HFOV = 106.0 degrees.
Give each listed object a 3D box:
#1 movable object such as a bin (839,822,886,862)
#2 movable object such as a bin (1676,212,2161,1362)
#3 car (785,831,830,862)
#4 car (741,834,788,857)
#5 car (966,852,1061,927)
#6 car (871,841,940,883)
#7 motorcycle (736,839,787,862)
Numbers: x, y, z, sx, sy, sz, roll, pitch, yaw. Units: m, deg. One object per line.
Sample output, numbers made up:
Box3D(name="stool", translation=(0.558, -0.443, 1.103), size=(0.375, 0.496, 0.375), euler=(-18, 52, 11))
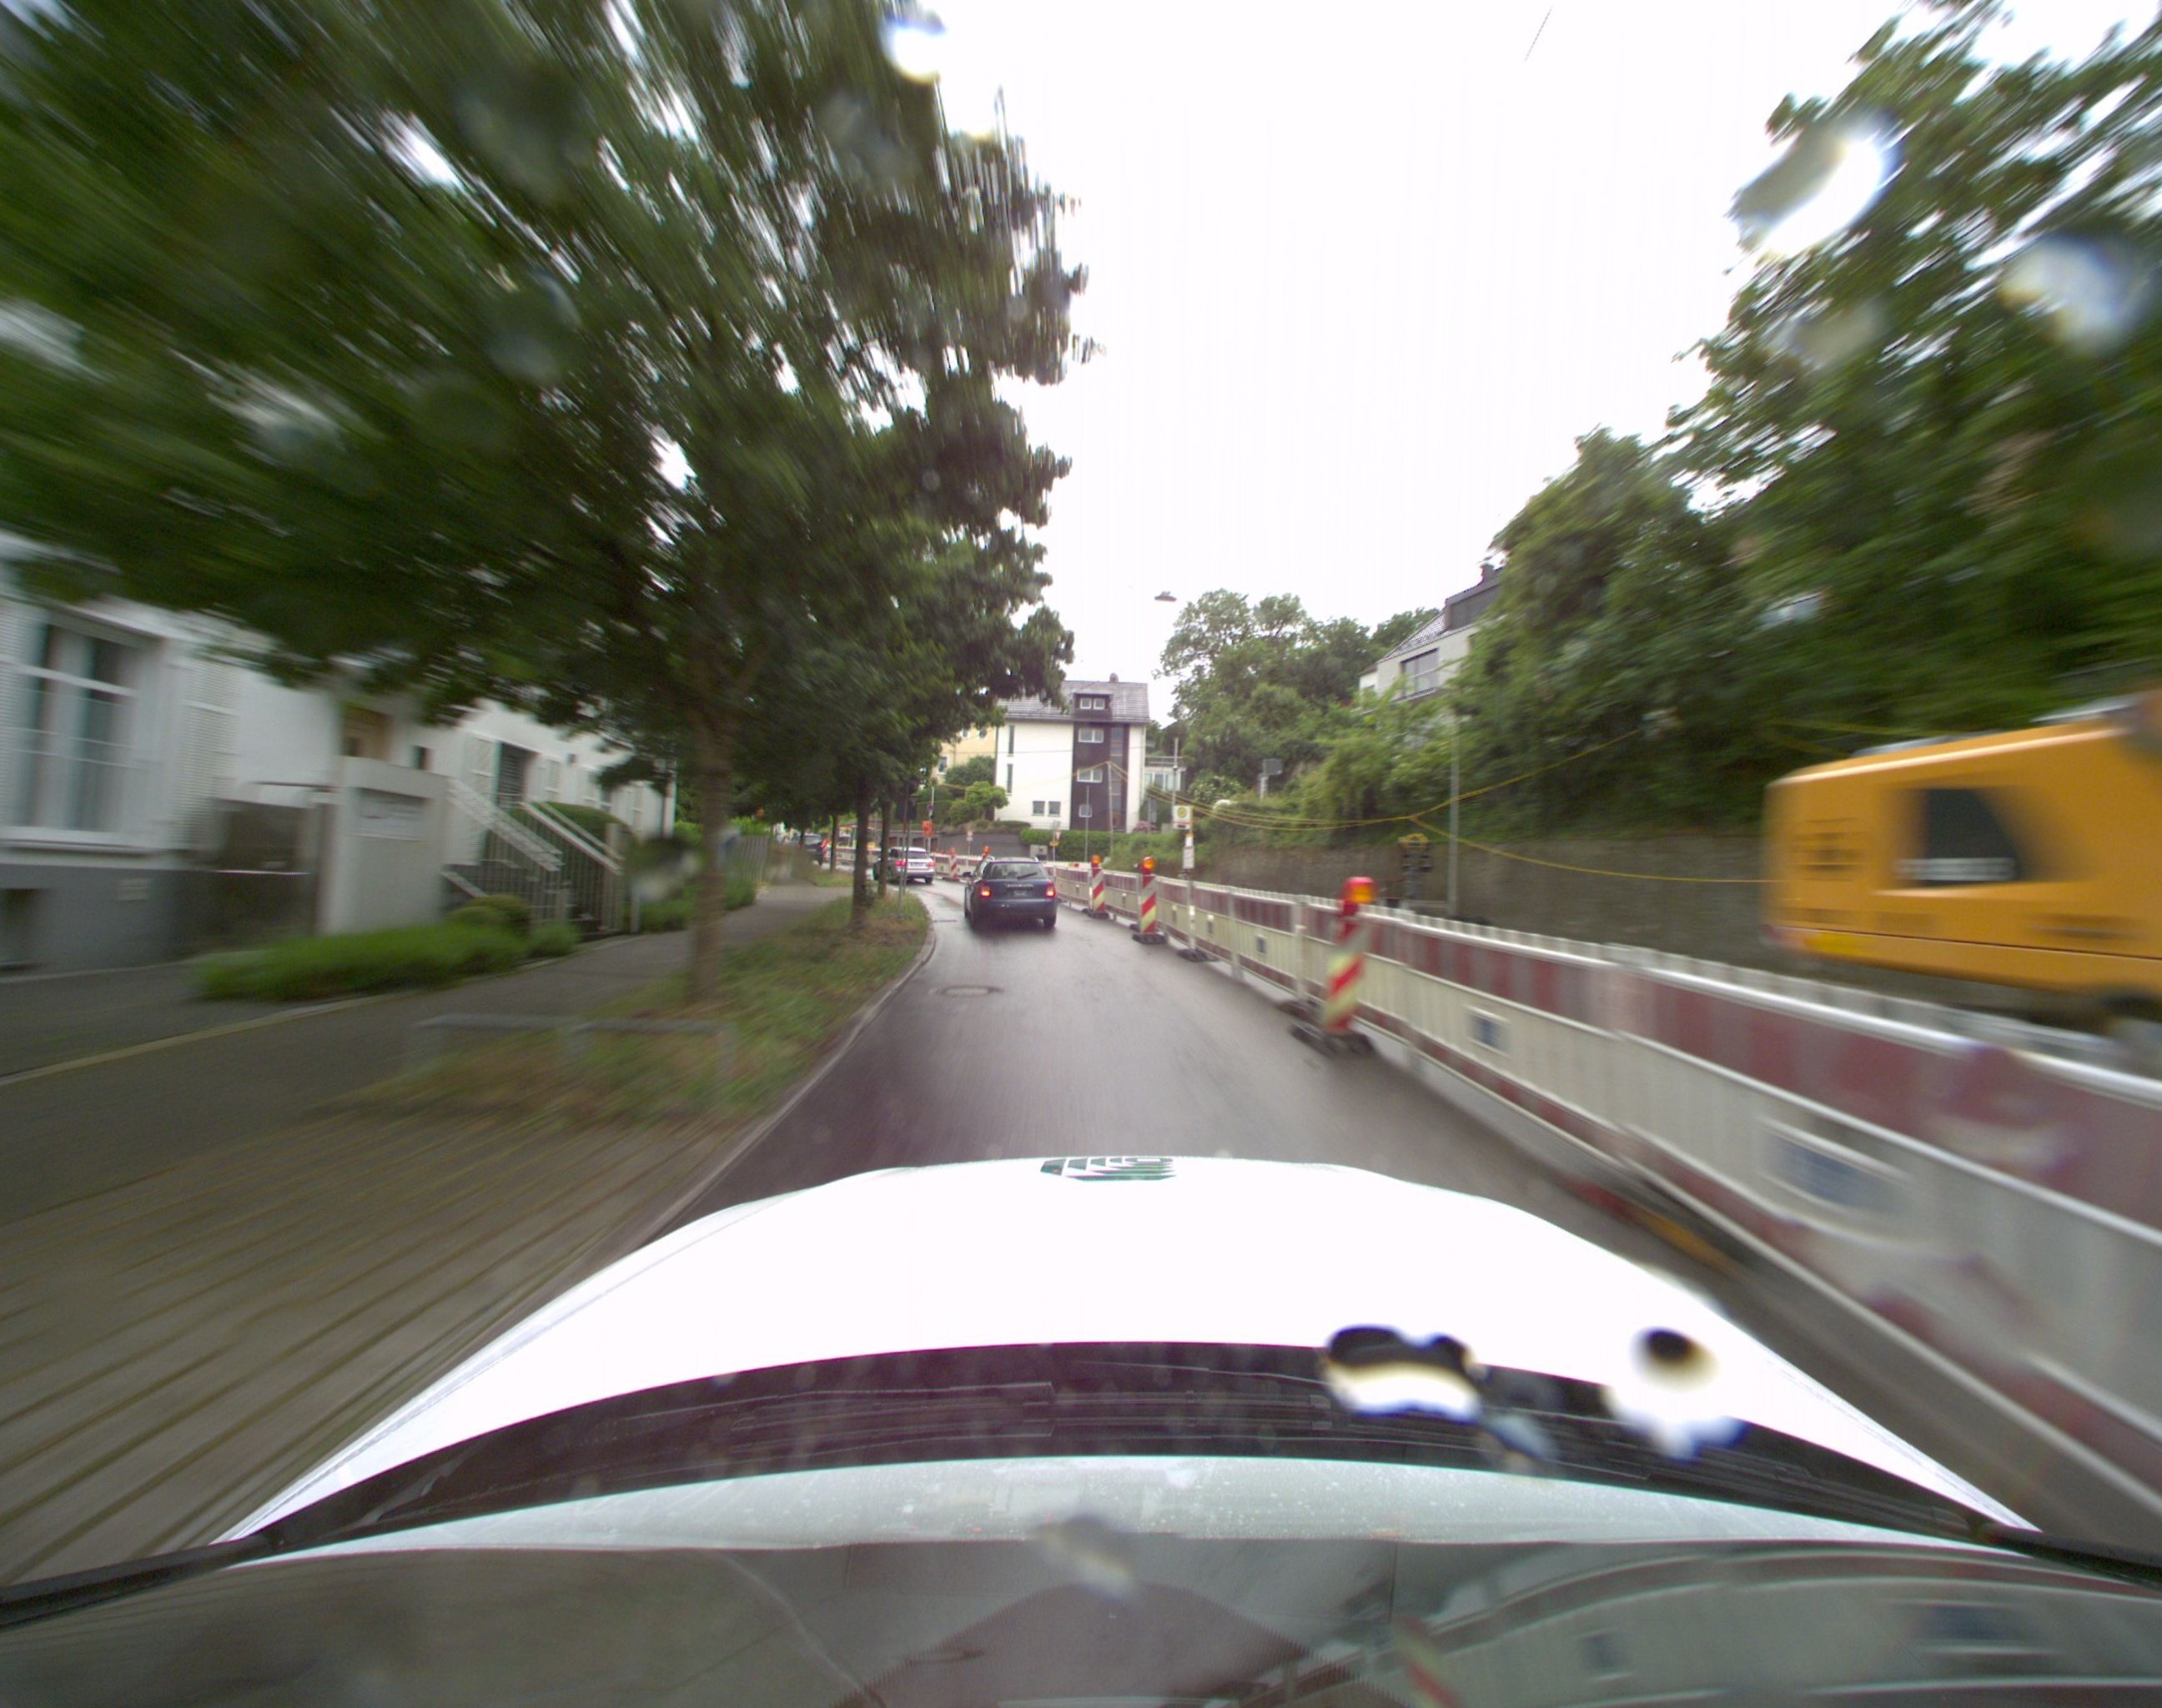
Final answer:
Box3D(name="movable object such as a bin", translation=(-14.968, -0.847, 55.618), size=(2.007, 2.613, 3.962), euler=(1, 2, -31))
Box3D(name="movable object such as a bin", translation=(5.071, -0.233, 1.763), size=(2.805, 4.014, 7.338), euler=(0, 0, 6))
Box3D(name="car", translation=(-16.824, -0.429, 50.003), size=(2.005, 1.794, 3.963), euler=(0, -2, -28))
Box3D(name="car", translation=(-23.098, -0.577, 59.425), size=(1.736, 1.486, 4.026), euler=(1, -2, -44))
Box3D(name="car", translation=(-1.577, 0.684, 17.808), size=(1.785, 1.442, 3.951), euler=(0, 0, -9))
Box3D(name="car", translation=(-7.467, 0.321, 34.400), size=(1.936, 1.618, 4.284), euler=(1, 0, -25))
Box3D(name="motorcycle", translation=(-18.761, -0.196, 47.798), size=(2.615, 1.234, 0.881), euler=(3, -1, -32))
